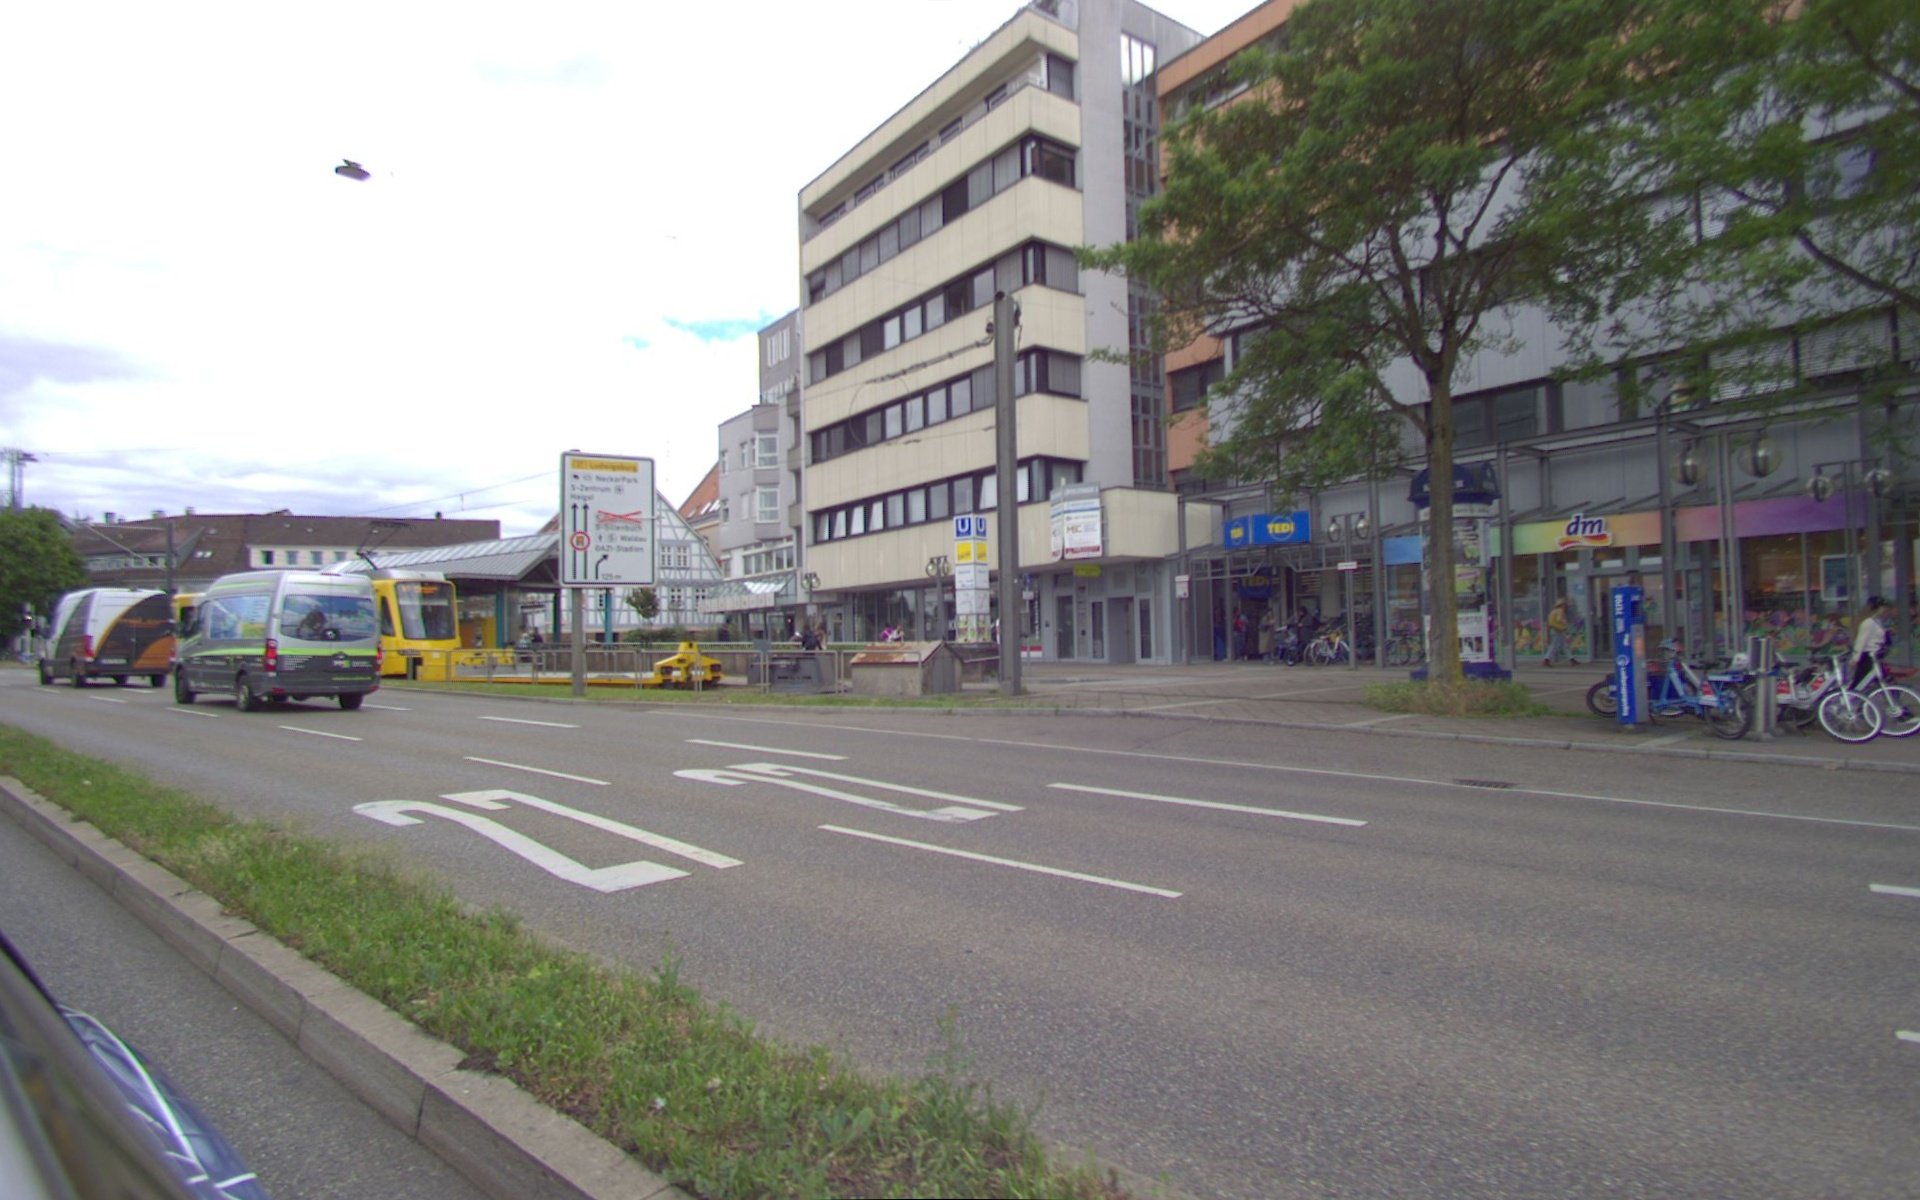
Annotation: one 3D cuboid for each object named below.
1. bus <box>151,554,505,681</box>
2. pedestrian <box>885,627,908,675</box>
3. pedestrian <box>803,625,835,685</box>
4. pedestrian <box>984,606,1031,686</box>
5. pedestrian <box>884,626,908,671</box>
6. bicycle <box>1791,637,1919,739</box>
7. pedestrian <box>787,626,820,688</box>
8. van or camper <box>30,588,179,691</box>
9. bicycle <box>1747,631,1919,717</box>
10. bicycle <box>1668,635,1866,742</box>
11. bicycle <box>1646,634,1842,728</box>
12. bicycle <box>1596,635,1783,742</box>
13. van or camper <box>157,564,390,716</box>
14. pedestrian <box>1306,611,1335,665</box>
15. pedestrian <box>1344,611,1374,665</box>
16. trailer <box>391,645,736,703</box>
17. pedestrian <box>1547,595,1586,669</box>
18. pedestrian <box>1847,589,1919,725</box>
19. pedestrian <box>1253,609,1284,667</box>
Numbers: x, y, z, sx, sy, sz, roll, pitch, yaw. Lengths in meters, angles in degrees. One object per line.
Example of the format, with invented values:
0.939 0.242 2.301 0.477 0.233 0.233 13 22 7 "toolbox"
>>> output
-24.361 0.840 37.961 19.291 3.889 3.844 -2 -3 34 "bus"
-2.311 1.850 36.714 0.627 1.713 0.544 -2 -3 36 "pedestrian"
-3.758 1.454 26.945 0.619 1.585 0.593 -2 -3 36 "pedestrian"
1.159 1.112 24.555 0.873 1.892 0.737 -2 -3 38 "pedestrian"
-2.458 1.860 38.778 0.627 1.713 0.684 -2 -3 36 "pedestrian"
11.251 1.045 12.328 0.595 1.170 1.694 0 -2 -13 "bicycle"
-4.071 1.469 26.340 0.619 1.585 0.593 -2 -3 36 "pedestrian"
-24.134 1.133 28.448 6.108 2.618 1.974 -2 -4 39 "van or camper"
12.831 1.060 14.940 0.664 1.170 2.021 0 -2 -5 "bicycle"
9.911 1.044 12.542 0.595 1.170 1.970 0 -1 -12 "bicycle"
10.449 1.052 13.561 0.595 1.170 1.968 1 -3 -40 "bicycle"
9.048 1.059 12.671 0.595 1.170 1.970 -2 -1 -12 "bicycle"
-13.731 0.810 20.075 6.108 2.618 2.012 -2 -4 39 "van or camper"
12.010 1.258 33.739 0.706 1.729 0.697 -2 0 37 "pedestrian"
12.953 1.222 32.887 0.706 1.729 0.697 -2 0 37 "pedestrian"
-11.597 1.981 28.660 12.095 1.343 2.817 -2 -3 34 "trailer"
14.257 0.754 23.795 0.667 1.713 0.643 -2 -3 38 "pedestrian"
12.221 0.728 13.356 0.706 1.726 0.767 -2 0 40 "pedestrian"
9.363 1.147 30.709 0.634 1.711 0.697 -2 0 38 "pedestrian"
